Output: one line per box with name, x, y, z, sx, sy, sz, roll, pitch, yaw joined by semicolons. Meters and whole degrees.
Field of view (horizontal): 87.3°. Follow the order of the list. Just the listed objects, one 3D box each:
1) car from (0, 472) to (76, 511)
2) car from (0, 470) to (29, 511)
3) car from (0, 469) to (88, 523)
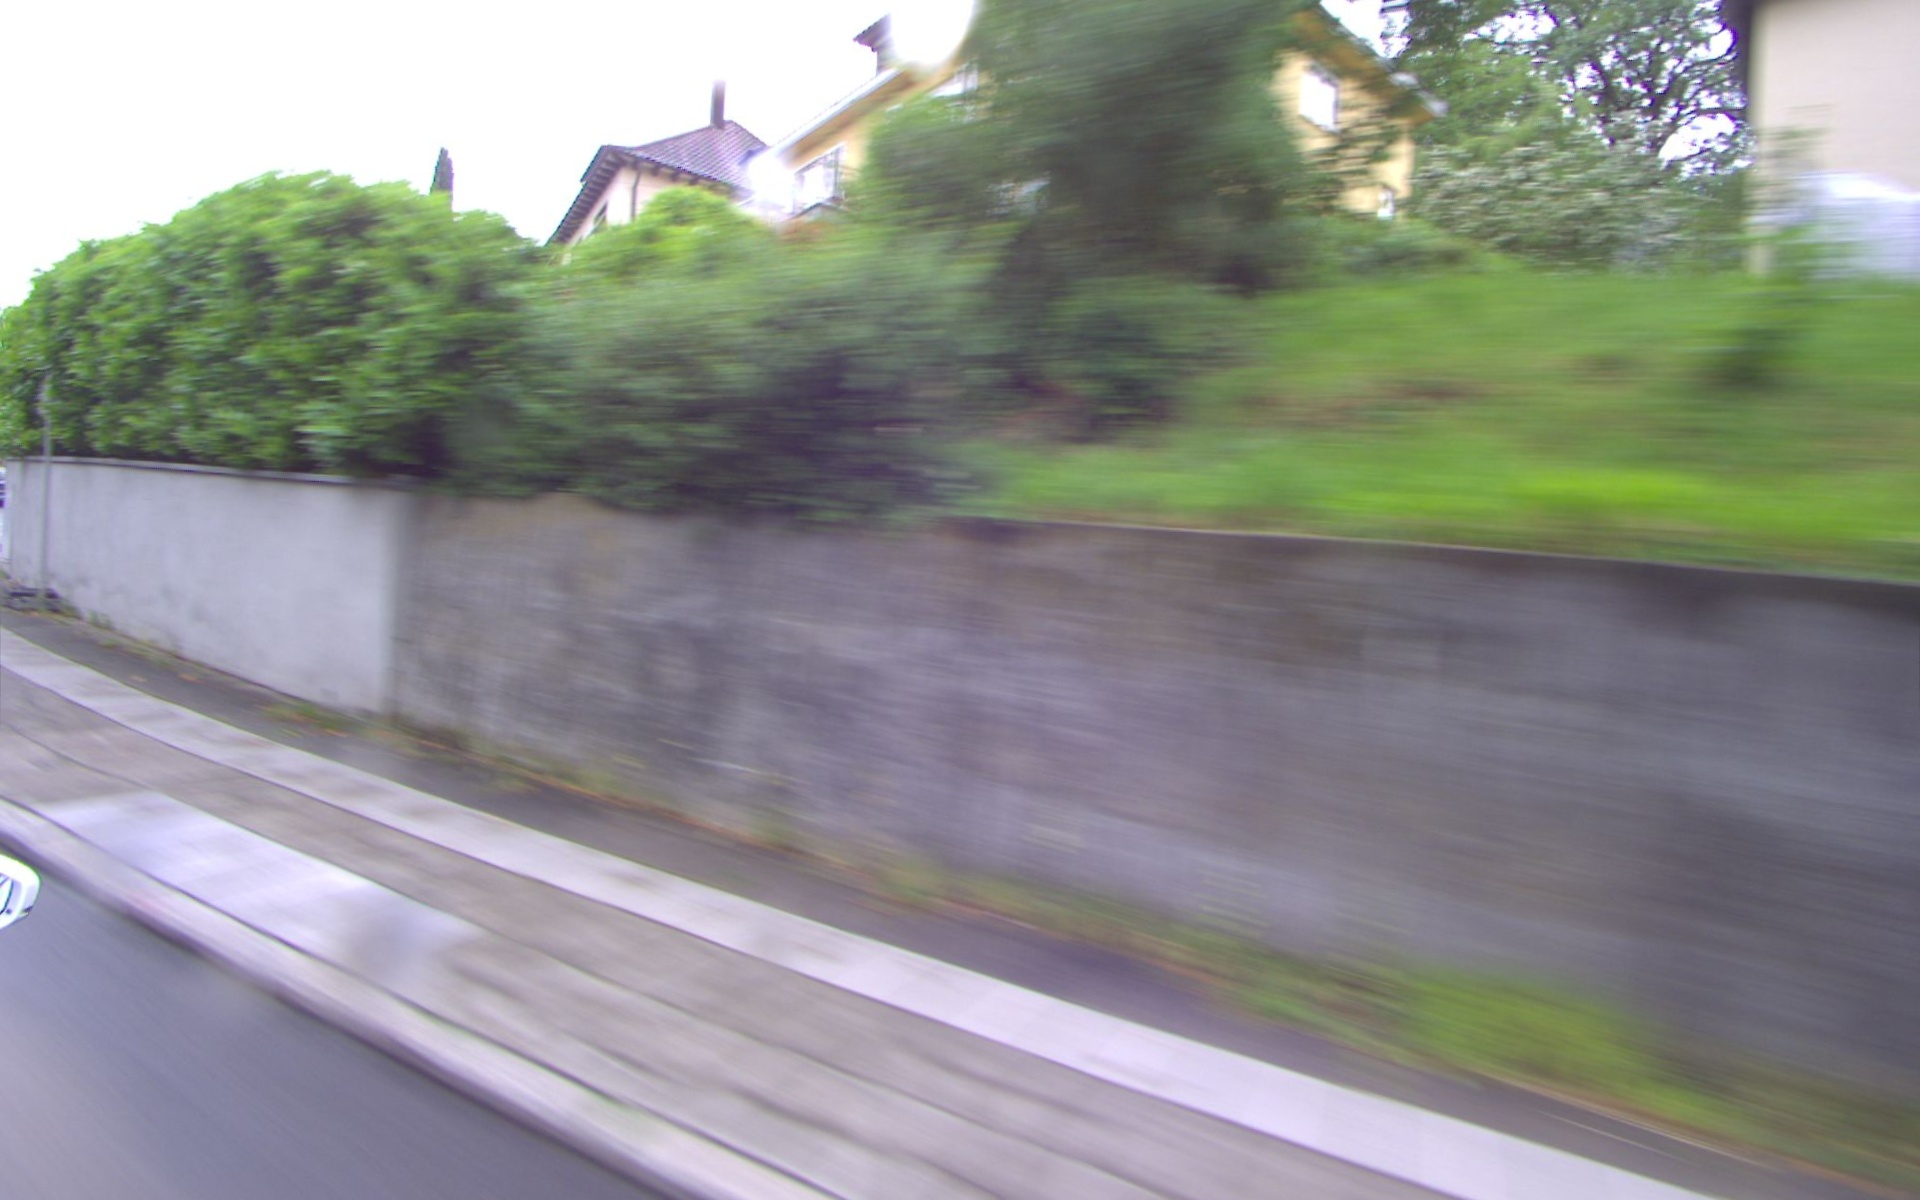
car;-43.320;-5.045;46.969;1.661;1.491;3.848;4;2;-18
car;-41.383;-4.718;42.227;1.780;1.691;4.404;4;2;-20
car;-36.032;-4.115;39.519;1.719;1.793;4.200;5;4;-29
